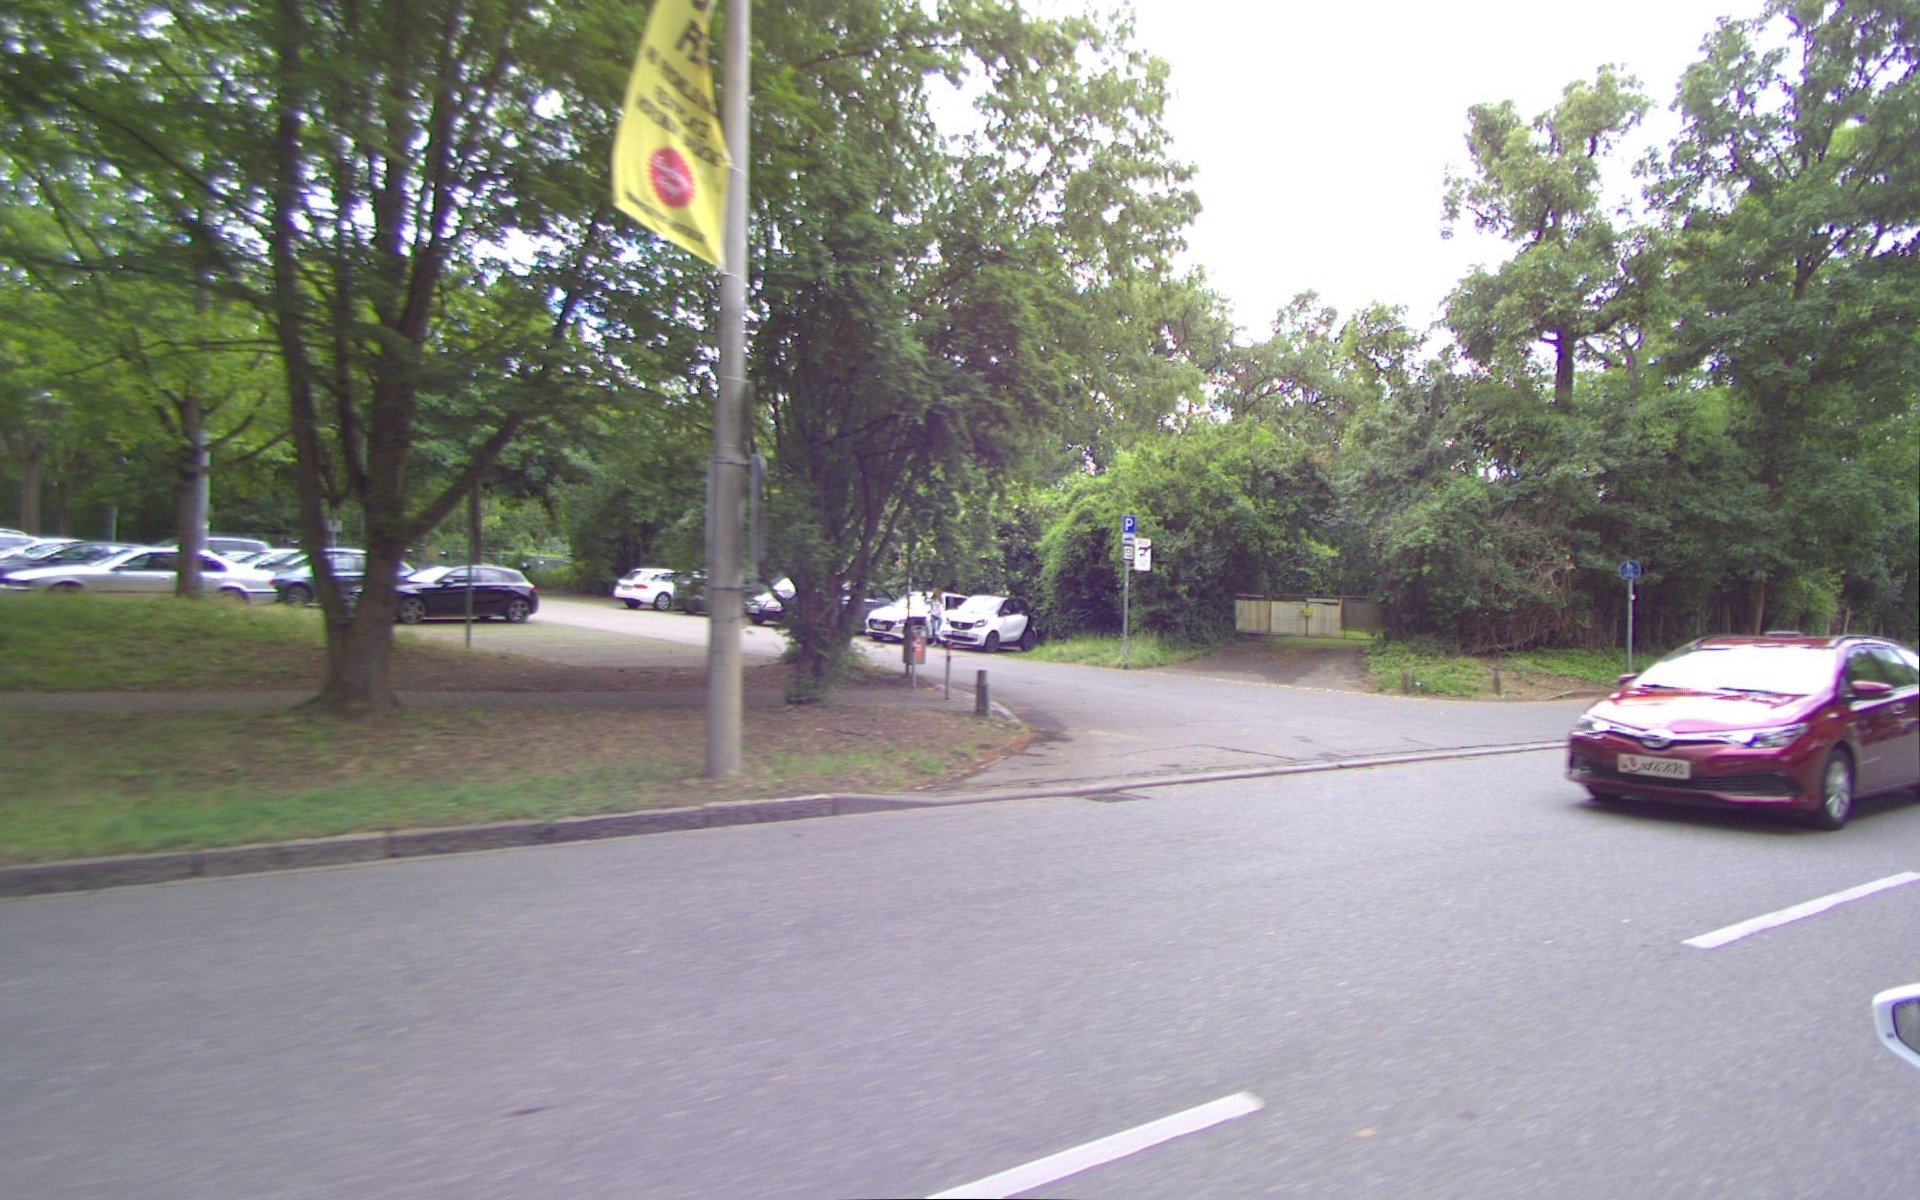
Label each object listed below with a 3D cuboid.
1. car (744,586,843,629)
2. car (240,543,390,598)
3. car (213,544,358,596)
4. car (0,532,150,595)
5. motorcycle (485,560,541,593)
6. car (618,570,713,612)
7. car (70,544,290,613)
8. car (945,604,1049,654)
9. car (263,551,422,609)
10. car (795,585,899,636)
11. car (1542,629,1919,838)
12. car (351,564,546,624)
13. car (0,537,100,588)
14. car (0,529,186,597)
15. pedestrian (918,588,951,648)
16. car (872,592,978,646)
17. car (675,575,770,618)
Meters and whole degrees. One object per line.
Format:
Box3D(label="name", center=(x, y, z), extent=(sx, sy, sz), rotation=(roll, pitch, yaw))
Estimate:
Box3D(label="car", center=(-5.250, 0.245, 31.923), extent=(1.247, 1.228, 3.058), rotation=(4, 1, 38))
Box3D(label="car", center=(-18.798, -0.845, 29.360), extent=(1.515, 1.434, 3.365), rotation=(4, 1, 38))
Box3D(label="car", center=(-20.584, -0.896, 30.754), extent=(1.515, 1.434, 3.365), rotation=(4, 1, 38))
Box3D(label="car", center=(-23.820, -0.944, 26.139), extent=(1.624, 1.506, 3.986), rotation=(2, 0, 36))
Box3D(label="motorcycle", center=(-19.793, -1.030, 44.486), extent=(2.161, 1.341, 0.720), rotation=(2, 1, -30))
Box3D(label="car", center=(-10.477, -0.315, 35.863), extent=(1.247, 1.387, 3.058), rotation=(4, 1, 38))
Box3D(label="car", center=(-17.463, -0.446, 22.649), extent=(1.620, 1.399, 3.578), rotation=(3, 1, 33))
Box3D(label="car", center=(1.083, 0.783, 28.163), extent=(1.354, 1.255, 3.058), rotation=(4, 1, 38))
Box3D(label="car", center=(-16.781, -0.521, 27.386), extent=(1.515, 1.434, 3.365), rotation=(4, 1, 38))
Box3D(label="car", center=(-3.386, 0.317, 30.500), extent=(1.354, 1.420, 3.058), rotation=(4, 1, 38))
Box3D(label="car", center=(7.103, 1.006, 8.805), extent=(4.149, 1.447, 1.708), rotation=(2, -3, -32))
Box3D(label="car", center=(-12.632, -0.121, 25.048), extent=(1.419, 1.358, 4.107), rotation=(4, 1, 38))
Box3D(label="car", center=(-27.257, -1.115, 28.855), extent=(1.620, 1.372, 3.578), rotation=(3, 1, 33))
Box3D(label="car", center=(-21.995, -0.891, 25.033), extent=(1.624, 1.506, 3.986), rotation=(2, 0, 36))
Box3D(label="pedestrian", center=(-0.695, 0.488, 27.906), extent=(0.463, 1.632, 0.827), rotation=(2, 0, 38))
Box3D(label="car", center=(-0.960, 0.540, 28.885), extent=(1.354, 1.420, 3.058), rotation=(4, 1, 38))
Box3D(label="car", center=(-8.161, -0.115, 34.707), extent=(1.247, 1.379, 3.058), rotation=(4, 1, 38))
